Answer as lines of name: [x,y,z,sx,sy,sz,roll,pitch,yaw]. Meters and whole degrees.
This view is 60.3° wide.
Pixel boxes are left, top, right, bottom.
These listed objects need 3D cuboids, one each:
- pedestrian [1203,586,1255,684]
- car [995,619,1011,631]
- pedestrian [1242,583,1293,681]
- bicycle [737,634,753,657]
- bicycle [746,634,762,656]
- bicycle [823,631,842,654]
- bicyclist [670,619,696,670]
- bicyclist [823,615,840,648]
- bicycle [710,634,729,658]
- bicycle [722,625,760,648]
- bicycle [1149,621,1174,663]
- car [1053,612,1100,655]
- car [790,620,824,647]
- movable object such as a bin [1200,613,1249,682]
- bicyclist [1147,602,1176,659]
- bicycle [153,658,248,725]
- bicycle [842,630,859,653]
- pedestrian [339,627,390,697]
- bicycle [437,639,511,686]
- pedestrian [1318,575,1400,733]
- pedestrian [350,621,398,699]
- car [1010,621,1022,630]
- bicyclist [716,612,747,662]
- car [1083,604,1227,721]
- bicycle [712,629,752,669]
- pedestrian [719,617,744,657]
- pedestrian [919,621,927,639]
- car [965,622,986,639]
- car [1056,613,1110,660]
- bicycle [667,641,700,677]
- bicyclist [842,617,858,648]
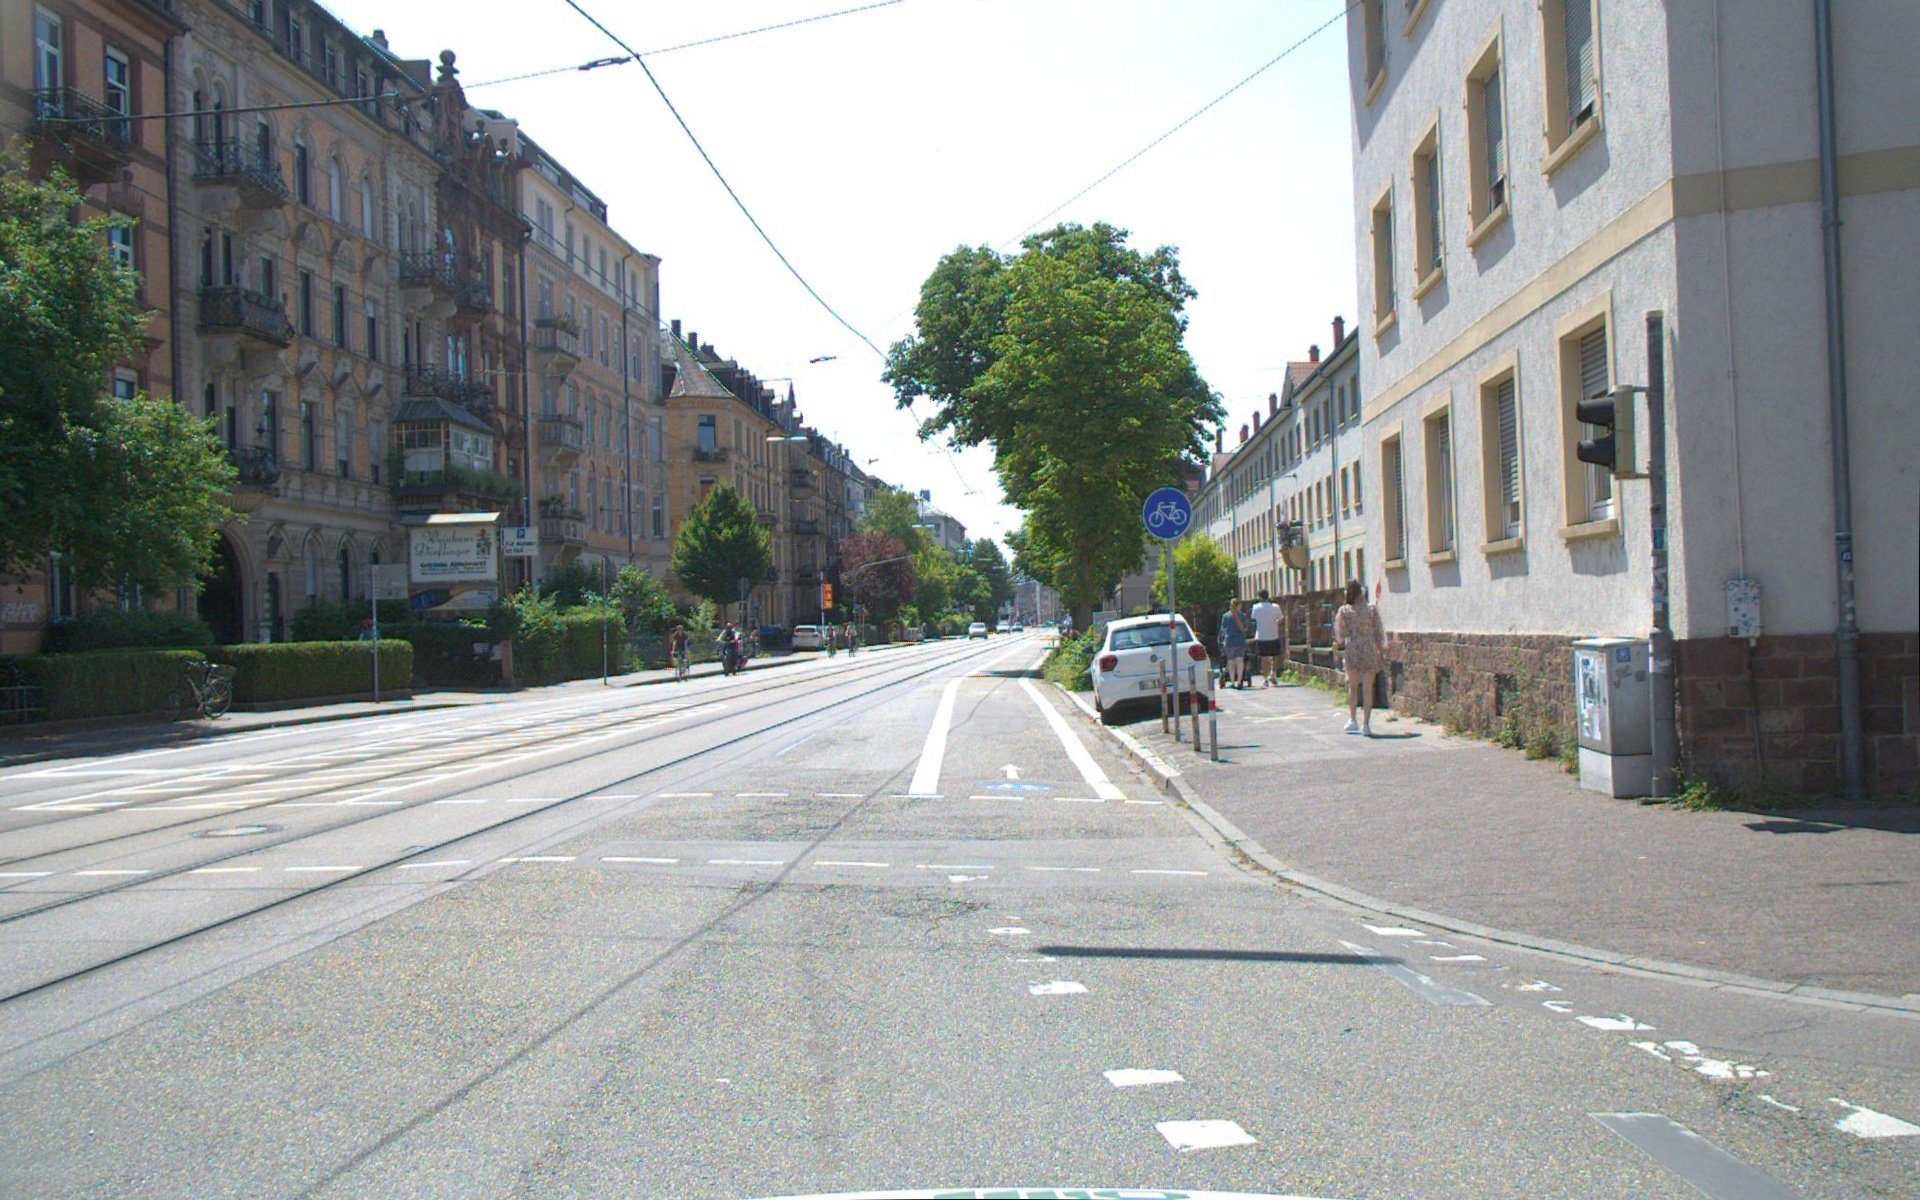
pedestrian: [4.847,0.624,29.873,0.683,1.698,0.869,-5,-1,3]
car: [5.524,3.210,212.586,1.719,1.449,4.002,-3,-1,4]
pedestrian: [5.607,0.582,30.176,0.683,1.698,0.756,-5,-1,3]
bicycle: [-9.917,2.084,76.357,0.429,1.000,1.711,-2,0,2]
bicycle: [-9.768,2.122,78.393,0.429,1.000,1.711,-2,0,2]
bicycle: [-6.463,2.142,83.889,0.616,1.097,1.876,-3,-1,3]
bicyclist: [-8.655,1.379,51.736,0.551,1.542,0.892,-2,-1,4]
bicyclist: [-6.499,1.590,83.875,0.621,1.612,1.029,-3,-1,3]
bicycle: [-10.349,1.971,71.228,0.486,1.004,1.711,2,0,2]
bicycle: [-10.569,1.757,79.815,1.669,1.055,0.551,-2,-1,8]
bicycle: [5.422,1.116,44.495,0.589,1.069,1.824,-3,-1,6]
car: [4.742,1.345,67.750,1.697,1.579,4.454,-3,0,2]
car: [-9.638,2.099,104.501,1.828,1.628,4.100,-1,-1,-1]
movable object such as a bin: [4.920,0.871,30.827,0.683,1.206,1.037,-5,-1,3]
bicyclist: [5.417,0.805,44.483,0.696,1.477,1.011,-3,-1,6]
bicycle: [-13.660,1.633,29.805,0.624,1.112,1.932,0,0,7]
bicycle: [-5.564,2.096,83.896,0.569,1.097,1.891,-3,-1,3]
pedestrian: [-15.353,1.593,42.631,0.891,1.730,0.822,-3,-1,31]
bicycle: [-13.119,1.689,44.668,1.832,1.249,0.568,0,-1,1]
pedestrian: [4.443,0.596,18.461,0.683,1.699,0.756,-2,-1,2]
pedestrian: [-14.703,1.497,41.485,0.810,1.889,0.864,-2,-1,-44]
car: [8.855,4.005,259.975,1.651,1.480,3.750,-2,-1,4]
bicyclist: [-7.792,1.271,56.497,0.790,1.658,0.981,-2,-1,4]
car: [2.889,0.891,25.261,1.741,1.434,4.158,-7,-1,3]
bicycle: [-7.768,1.663,56.526,0.790,1.294,2.552,-3,-1,4]
pedestrian: [-10.049,1.628,72.747,0.833,1.753,1.139,0,-1,4]
pedestrian: [-3.533,2.890,158.714,0.735,1.657,0.833,-2,-1,0]
car: [1.451,2.836,153.313,1.649,1.475,4.002,-3,0,3]
car: [4.359,1.279,58.991,1.622,1.541,4.000,-2,0,1]
bicycle: [-8.638,1.831,51.779,0.556,1.056,1.830,-2,-1,4]
bicyclist: [-5.589,1.646,83.918,0.580,1.571,0.952,-3,-1,3]
